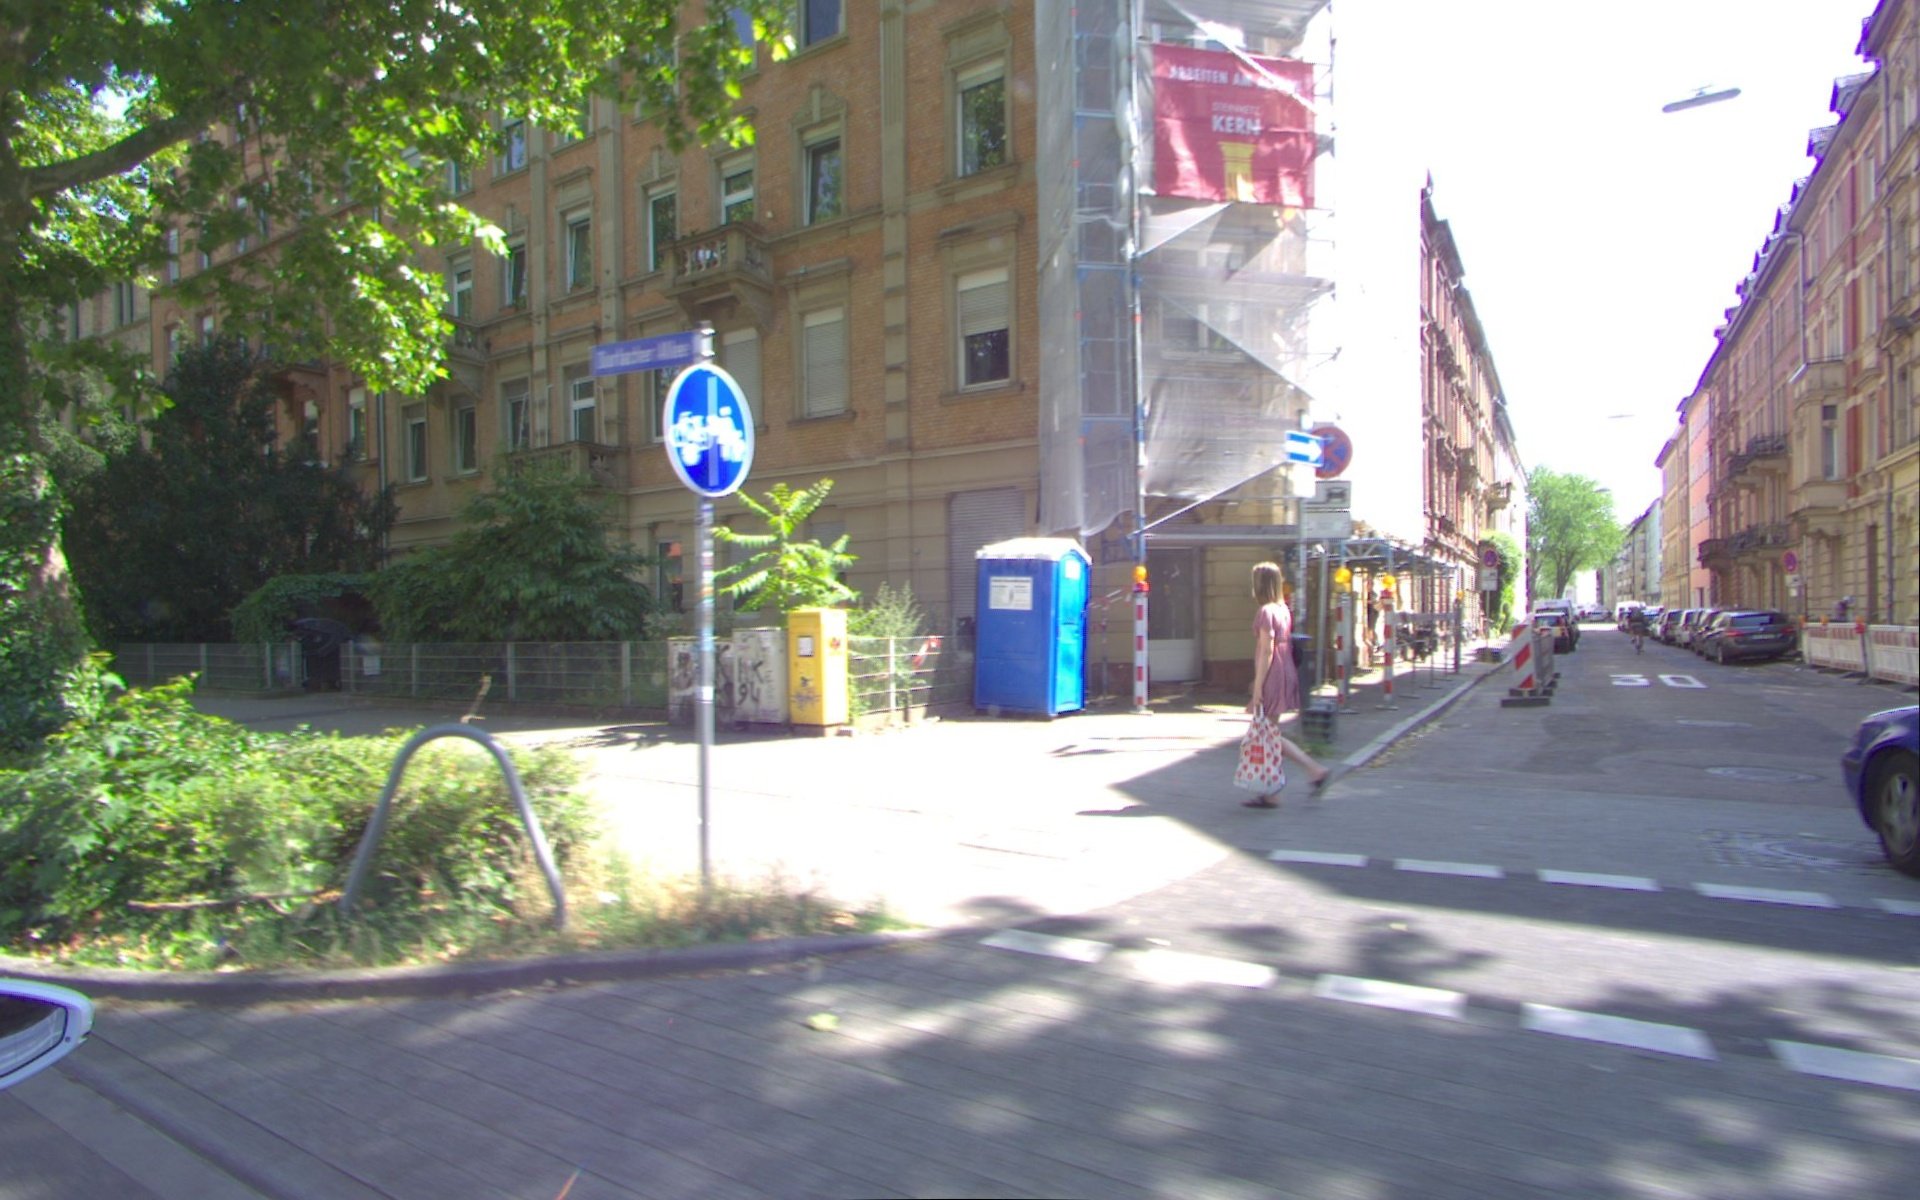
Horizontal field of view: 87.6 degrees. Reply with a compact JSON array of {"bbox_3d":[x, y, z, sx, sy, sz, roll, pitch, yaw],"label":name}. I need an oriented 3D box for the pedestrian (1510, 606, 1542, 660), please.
[{"bbox_3d":[19.650,1.144,34.773,0.922,1.822,1.034,-1,0,29],"label":"pedestrian"}]

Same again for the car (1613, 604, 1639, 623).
[{"bbox_3d":[66.220,1.334,99.629,1.971,1.761,3.980,-1,-1,31],"label":"car"}]

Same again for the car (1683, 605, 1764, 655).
[{"bbox_3d":[28.427,1.100,37.400,1.971,1.761,3.980,-1,-1,31],"label":"car"}]

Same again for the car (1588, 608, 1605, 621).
[{"bbox_3d":[89.215,2.042,140.430,1.971,1.761,3.980,-1,-1,31],"label":"car"}]

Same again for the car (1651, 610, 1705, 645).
[{"bbox_3d":[37.413,1.426,52.290,1.971,1.761,3.980,-1,-1,31],"label":"car"}]

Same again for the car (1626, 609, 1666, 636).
[{"bbox_3d":[45.804,1.471,66.957,1.971,1.761,3.980,-1,-1,31],"label":"car"}]

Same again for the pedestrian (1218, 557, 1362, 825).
[{"bbox_3d":[2.410,0.624,7.297,0.840,1.808,0.735,-1,-1,32],"label":"pedestrian"}]

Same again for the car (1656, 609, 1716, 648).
[{"bbox_3d":[34.328,1.318,47.441,1.971,1.761,3.980,-1,-1,31],"label":"car"}]

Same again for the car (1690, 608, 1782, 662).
[{"bbox_3d":[25.751,1.134,33.368,1.971,1.661,3.980,-1,-1,31],"label":"car"}]

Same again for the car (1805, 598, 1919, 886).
[{"bbox_3d":[5.412,0.673,3.633,1.852,1.428,4.090,-1,-1,12],"label":"car"}]

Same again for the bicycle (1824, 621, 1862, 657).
[{"bbox_3d":[25.558,1.119,29.010,0.530,0.991,1.304,-1,-1,28],"label":"bicycle"}]

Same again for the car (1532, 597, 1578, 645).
[{"bbox_3d":[31.044,1.107,52.208,1.887,2.404,4.224,-1,-1,33],"label":"car"}]

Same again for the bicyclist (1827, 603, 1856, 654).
[{"bbox_3d":[25.573,0.827,29.056,0.525,1.472,0.459,-1,0,29],"label":"bicyclist"}]

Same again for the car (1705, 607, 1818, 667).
[{"bbox_3d":[22.410,1.002,28.154,1.971,1.572,3.980,-1,-1,31],"label":"car"}]

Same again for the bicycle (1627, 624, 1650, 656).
[{"bbox_3d":[24.125,1.410,35.628,0.525,1.062,1.917,-1,-1,29],"label":"bicycle"}]

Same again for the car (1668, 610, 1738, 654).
[{"bbox_3d":[31.216,1.312,42.186,1.971,1.761,3.980,-1,-1,31],"label":"car"}]

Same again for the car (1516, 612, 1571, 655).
[{"bbox_3d":[22.177,1.230,38.052,1.703,1.549,3.479,-1,-1,31],"label":"car"}]

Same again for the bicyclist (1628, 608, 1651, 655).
[{"bbox_3d":[24.085,1.110,35.517,0.615,1.644,0.691,-1,0,30],"label":"bicyclist"}]
